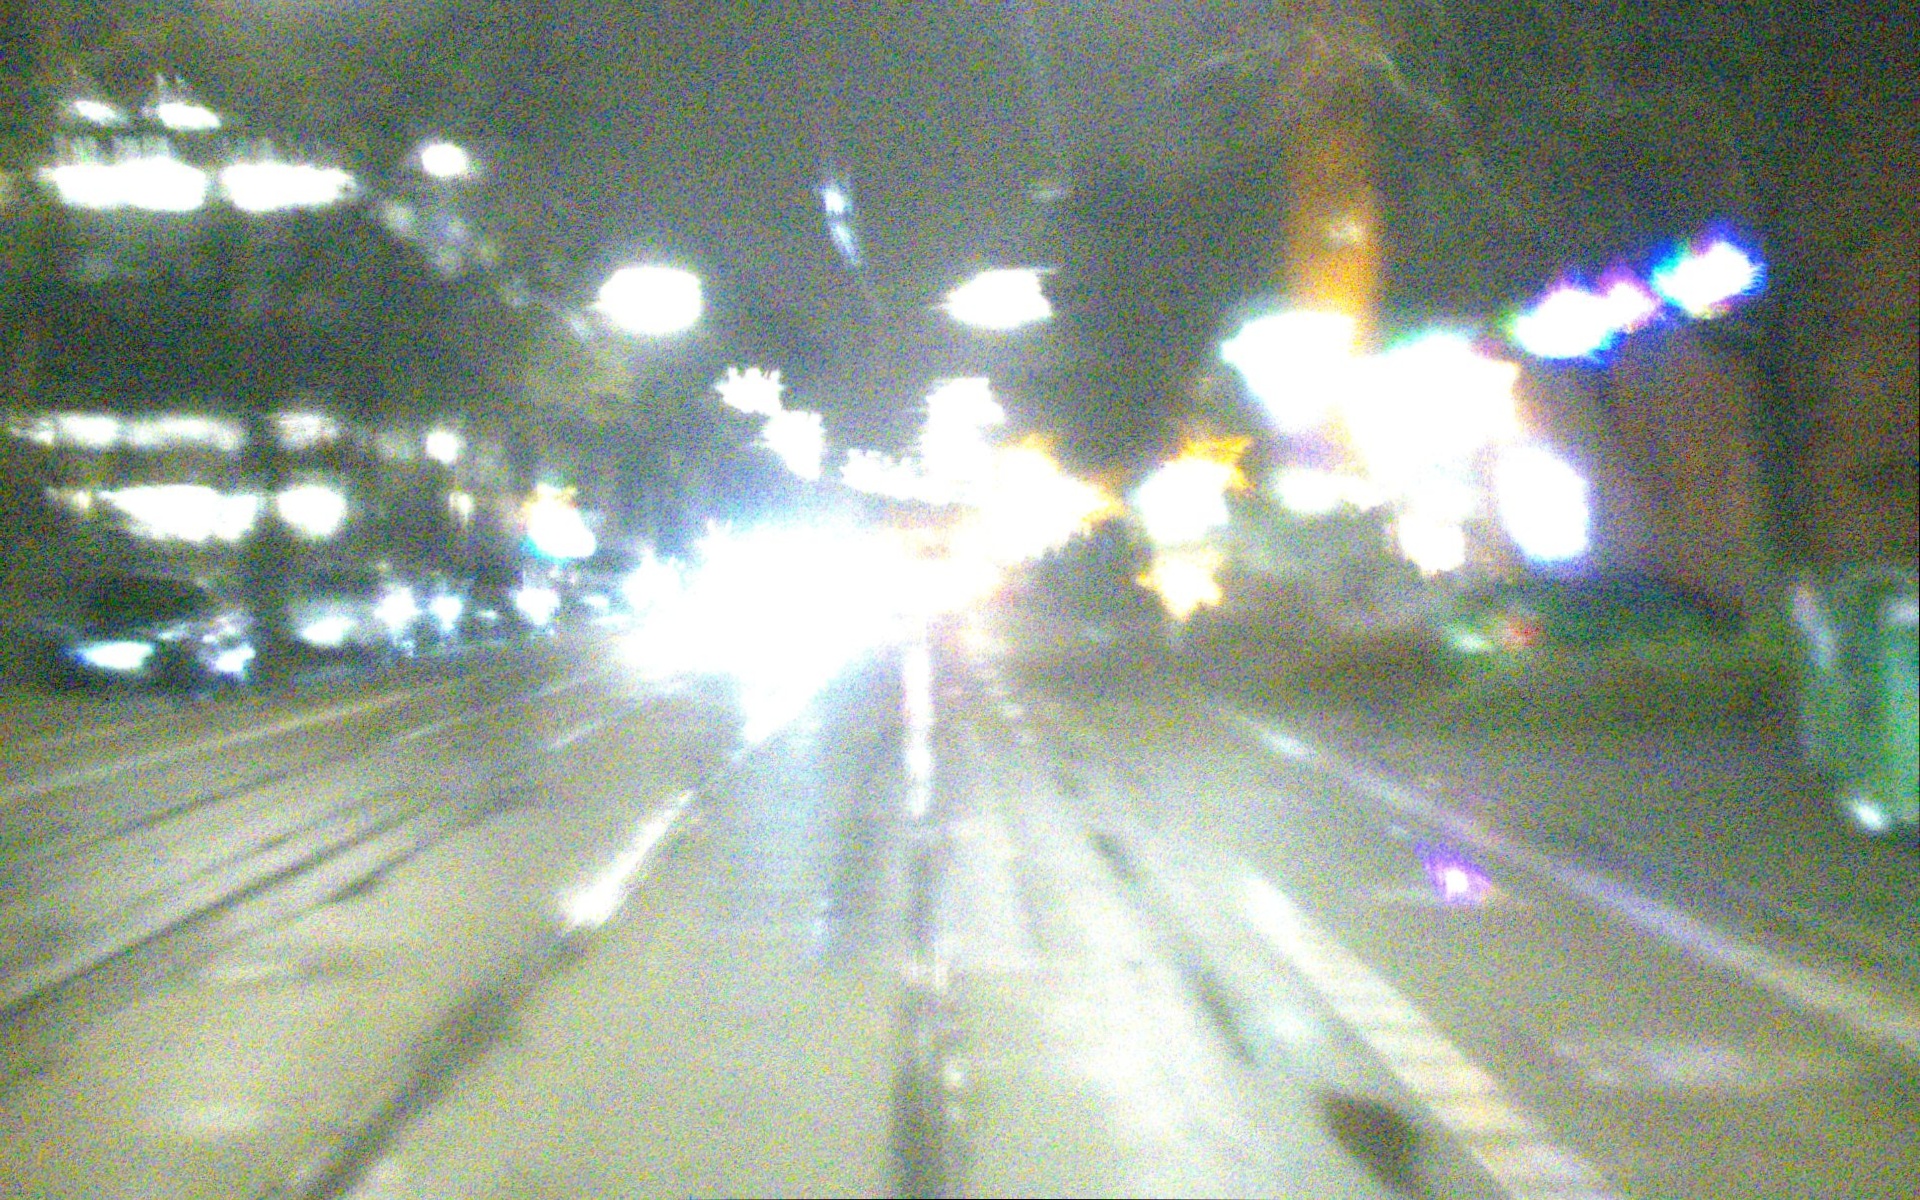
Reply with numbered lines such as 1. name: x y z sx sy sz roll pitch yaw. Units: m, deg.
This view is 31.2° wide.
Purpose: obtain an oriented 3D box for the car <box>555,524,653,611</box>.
1. car: -10.899 -1.036 105.630 2.185 2.583 6.392 0 1 1

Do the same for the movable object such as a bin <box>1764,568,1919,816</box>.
1. movable object such as a bin: 5.582 0.524 20.452 1.369 1.417 1.072 -2 0 5

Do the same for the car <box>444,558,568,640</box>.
1. car: -9.774 -0.047 74.297 1.969 1.650 4.601 2 1 1

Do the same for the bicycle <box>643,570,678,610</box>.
1. bicycle: -8.400 -0.282 96.474 0.782 1.078 1.918 -2 1 0

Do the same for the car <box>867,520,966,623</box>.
1. car: -1.058 -0.669 80.948 2.244 2.353 4.394 0 0 -2

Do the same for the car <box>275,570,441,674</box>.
1. car: -9.778 0.325 56.113 1.983 1.625 4.517 0 1 -1

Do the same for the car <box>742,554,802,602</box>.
1. car: -6.182 -0.745 113.425 1.776 1.512 4.051 0 1 0

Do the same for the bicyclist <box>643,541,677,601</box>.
1. bicyclist: -8.420 -0.817 96.485 0.782 1.650 1.206 -2 0 0

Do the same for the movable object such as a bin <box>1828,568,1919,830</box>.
1. movable object such as a bin: 5.604 0.526 19.316 1.208 1.417 1.100 -2 0 5

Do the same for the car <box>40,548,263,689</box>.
1. car: -9.849 0.191 42.190 1.880 1.540 4.400 3 0 -4

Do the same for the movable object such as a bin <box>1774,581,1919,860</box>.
1. movable object such as a bin: 5.154 0.603 18.150 1.321 1.403 1.160 -2 0 -6

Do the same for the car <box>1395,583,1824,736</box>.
1. car: 6.874 0.592 36.369 4.092 1.532 1.961 0 1 -26

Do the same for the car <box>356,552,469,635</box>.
1. car: -10.064 -0.142 63.399 1.690 1.417 3.915 -1 1 -4
